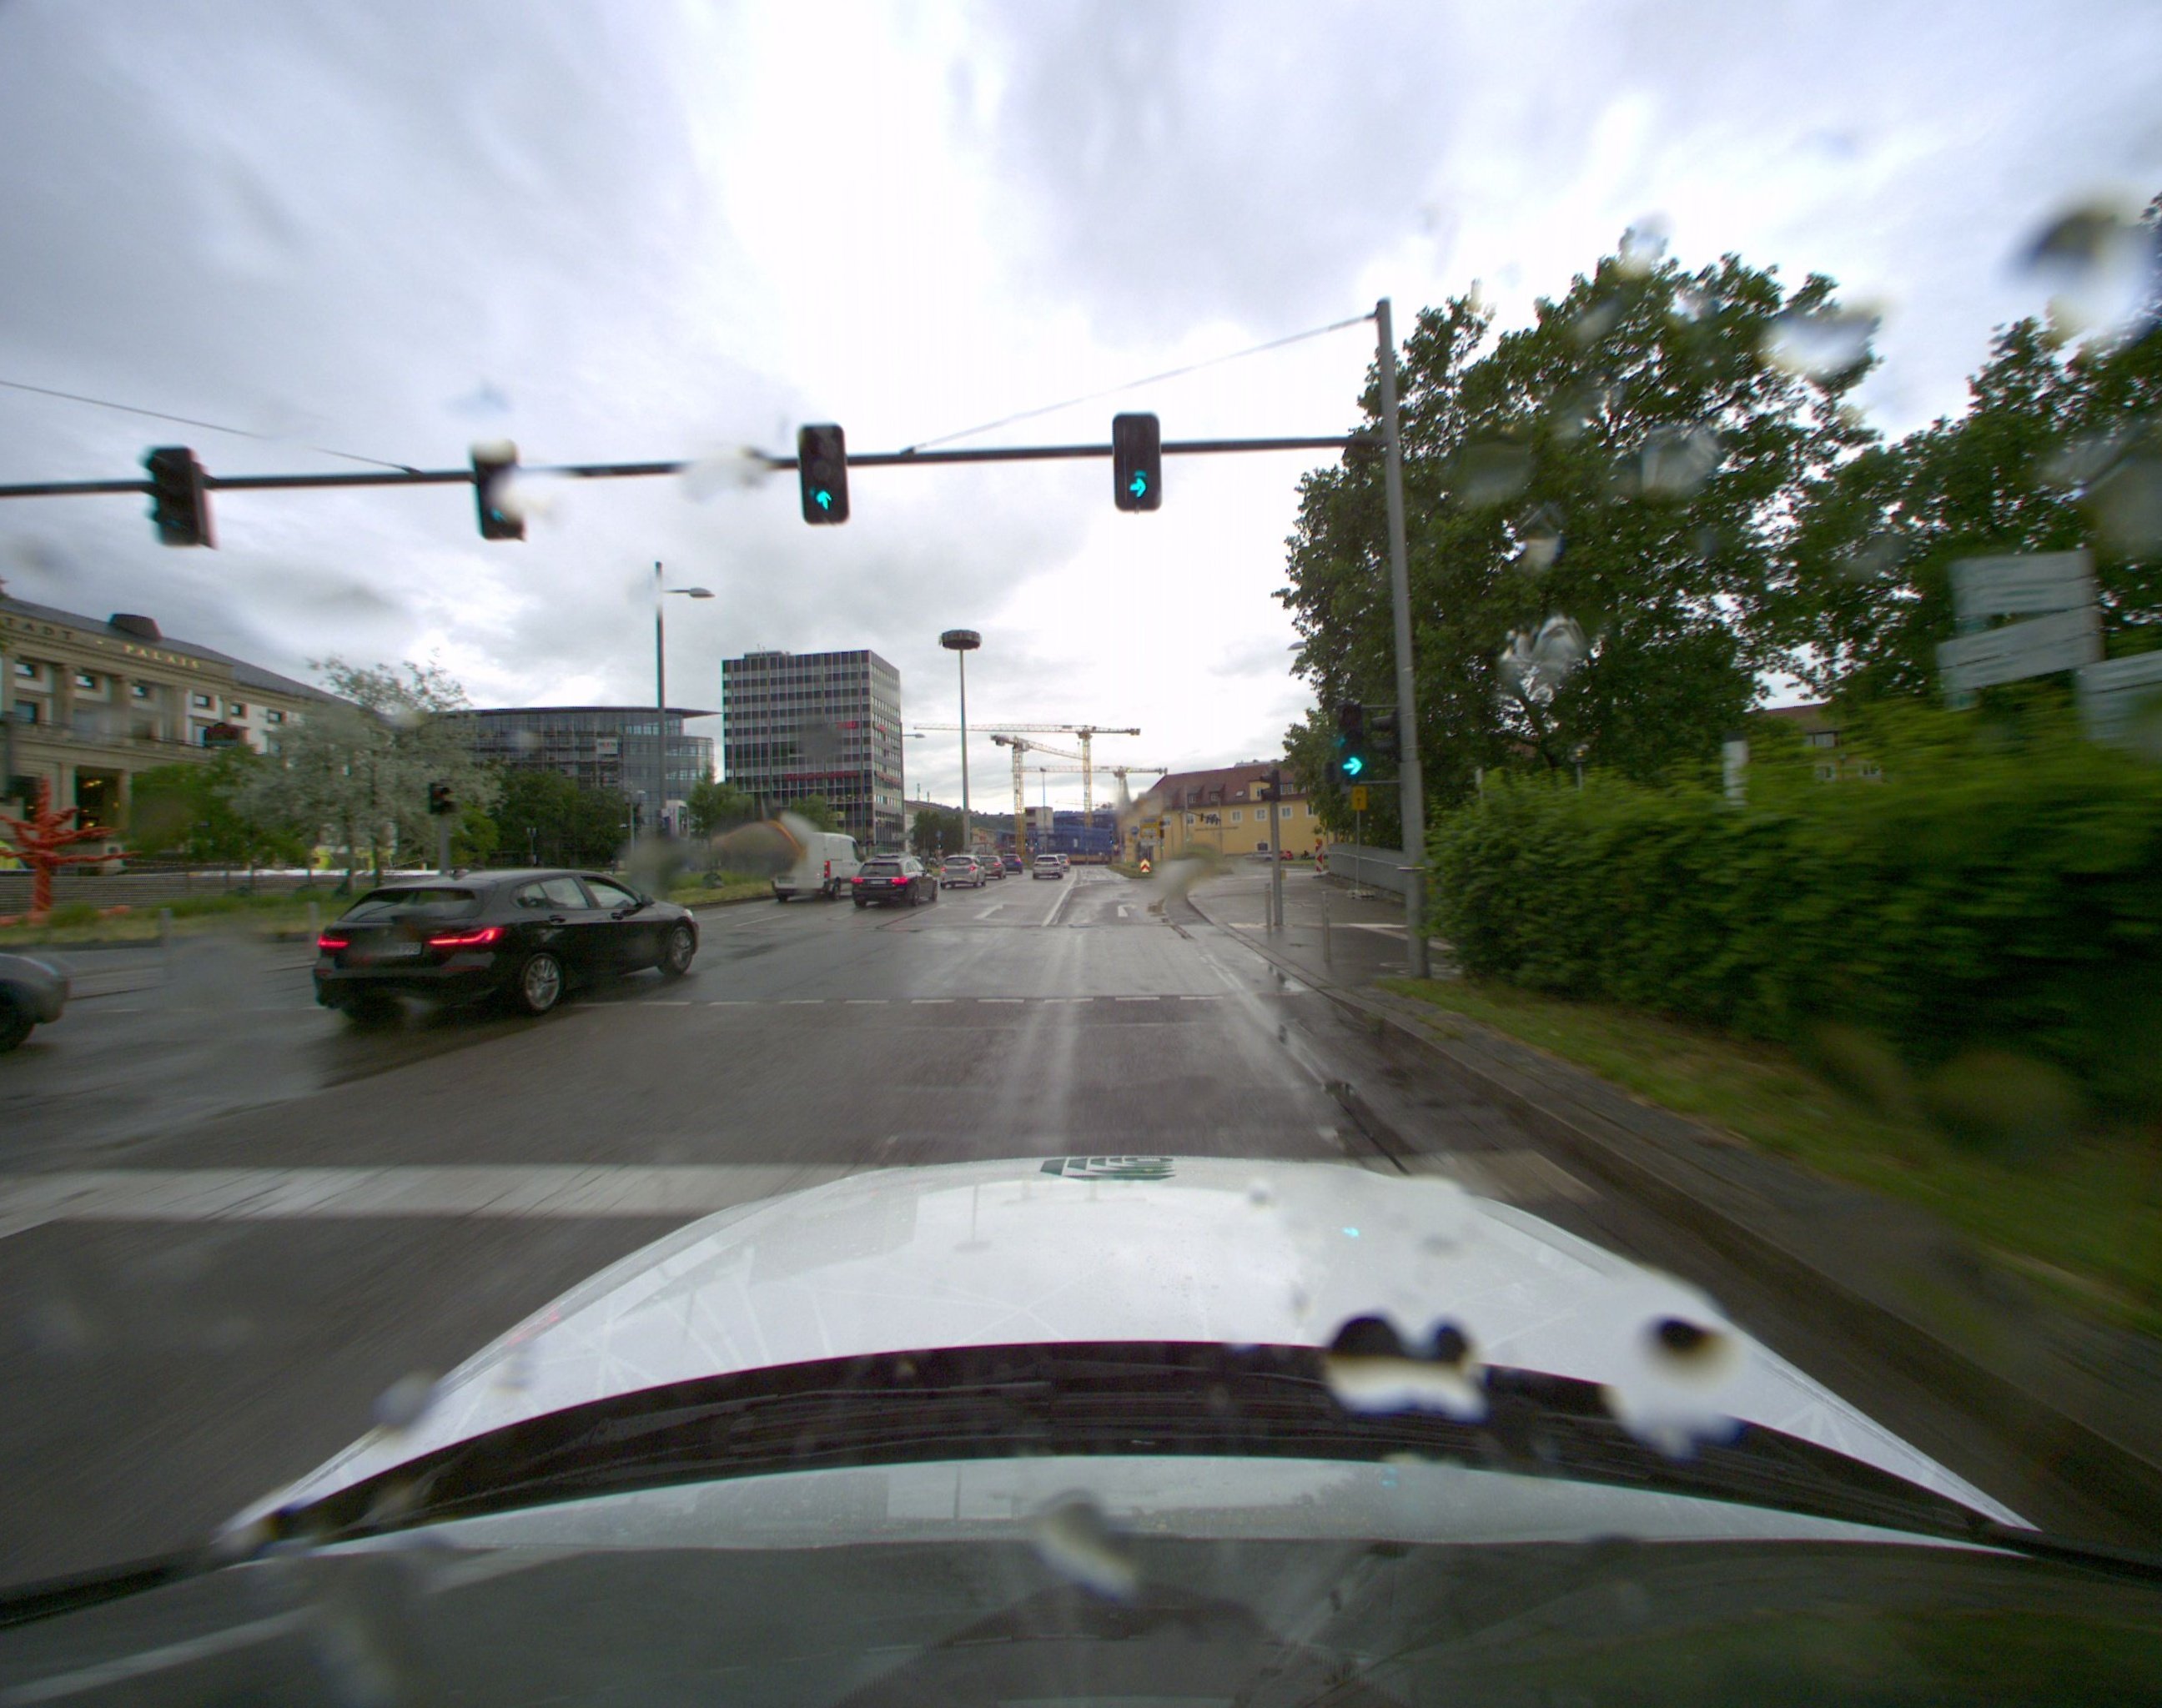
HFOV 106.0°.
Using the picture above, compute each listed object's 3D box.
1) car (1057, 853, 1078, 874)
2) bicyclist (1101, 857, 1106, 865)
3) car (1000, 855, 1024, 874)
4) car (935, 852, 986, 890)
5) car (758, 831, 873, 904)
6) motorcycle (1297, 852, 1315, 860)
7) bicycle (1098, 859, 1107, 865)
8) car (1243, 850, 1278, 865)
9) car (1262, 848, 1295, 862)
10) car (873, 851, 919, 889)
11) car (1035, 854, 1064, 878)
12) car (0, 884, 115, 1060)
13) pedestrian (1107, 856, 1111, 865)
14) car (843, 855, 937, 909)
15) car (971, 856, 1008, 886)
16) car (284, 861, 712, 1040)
[{"bbox_3d":[-1.153,0.819,70.754,1.661,1.741,3.289,0,1,1],"label":"car"},{"bbox_3d":[3.734,1.192,135.994,0.705,1.275,0.632,-1,-2,-14],"label":"bicyclist"},{"bbox_3d":[-5.378,0.844,63.599,1.488,1.369,3.034,-1,-2,2],"label":"car"},{"bbox_3d":[-5.494,0.799,37.437,1.875,1.653,3.456,-1,-2,-1],"label":"car"},{"bbox_3d":[-9.261,0.502,28.931,2.284,2.314,5.007,-1,-2,2],"label":"car"},{"bbox_3d":[26.131,0.230,94.624,1.946,0.852,0.549,-2,-2,24],"label":"motorcycle"},{"bbox_3d":[3.578,1.339,136.301,0.881,1.010,1.983,-1,-2,-13],"label":"bicycle"},{"bbox_3d":[19.506,0.389,88.576,3.369,1.482,1.846,-2,-2,27],"label":"car"},{"bbox_3d":[22.667,0.108,93.278,3.368,1.472,1.662,-2,-2,26],"label":"car"},{"bbox_3d":[-8.749,0.760,38.722,1.459,1.706,3.140,-1,-2,0],"label":"car"},{"bbox_3d":[-1.865,0.750,49.208,1.437,1.359,2.415,-1,-2,5],"label":"car"},{"bbox_3d":[-9.586,0.947,5.432,1.537,1.415,3.902,-1,-1,1],"label":"car"},{"bbox_3d":[4.384,1.056,128.486,0.450,1.368,0.447,-2,-2,40],"label":"pedestrian"},{"bbox_3d":[-5.686,0.793,24.651,1.822,1.494,3.403,-1,0,4],"label":"car"},{"bbox_3d":[-5.514,1.040,49.387,1.709,1.727,3.495,-1,-2,2],"label":"car"},{"bbox_3d":[-6.058,0.863,9.242,1.747,1.471,4.223,-1,0,1],"label":"car"}]
